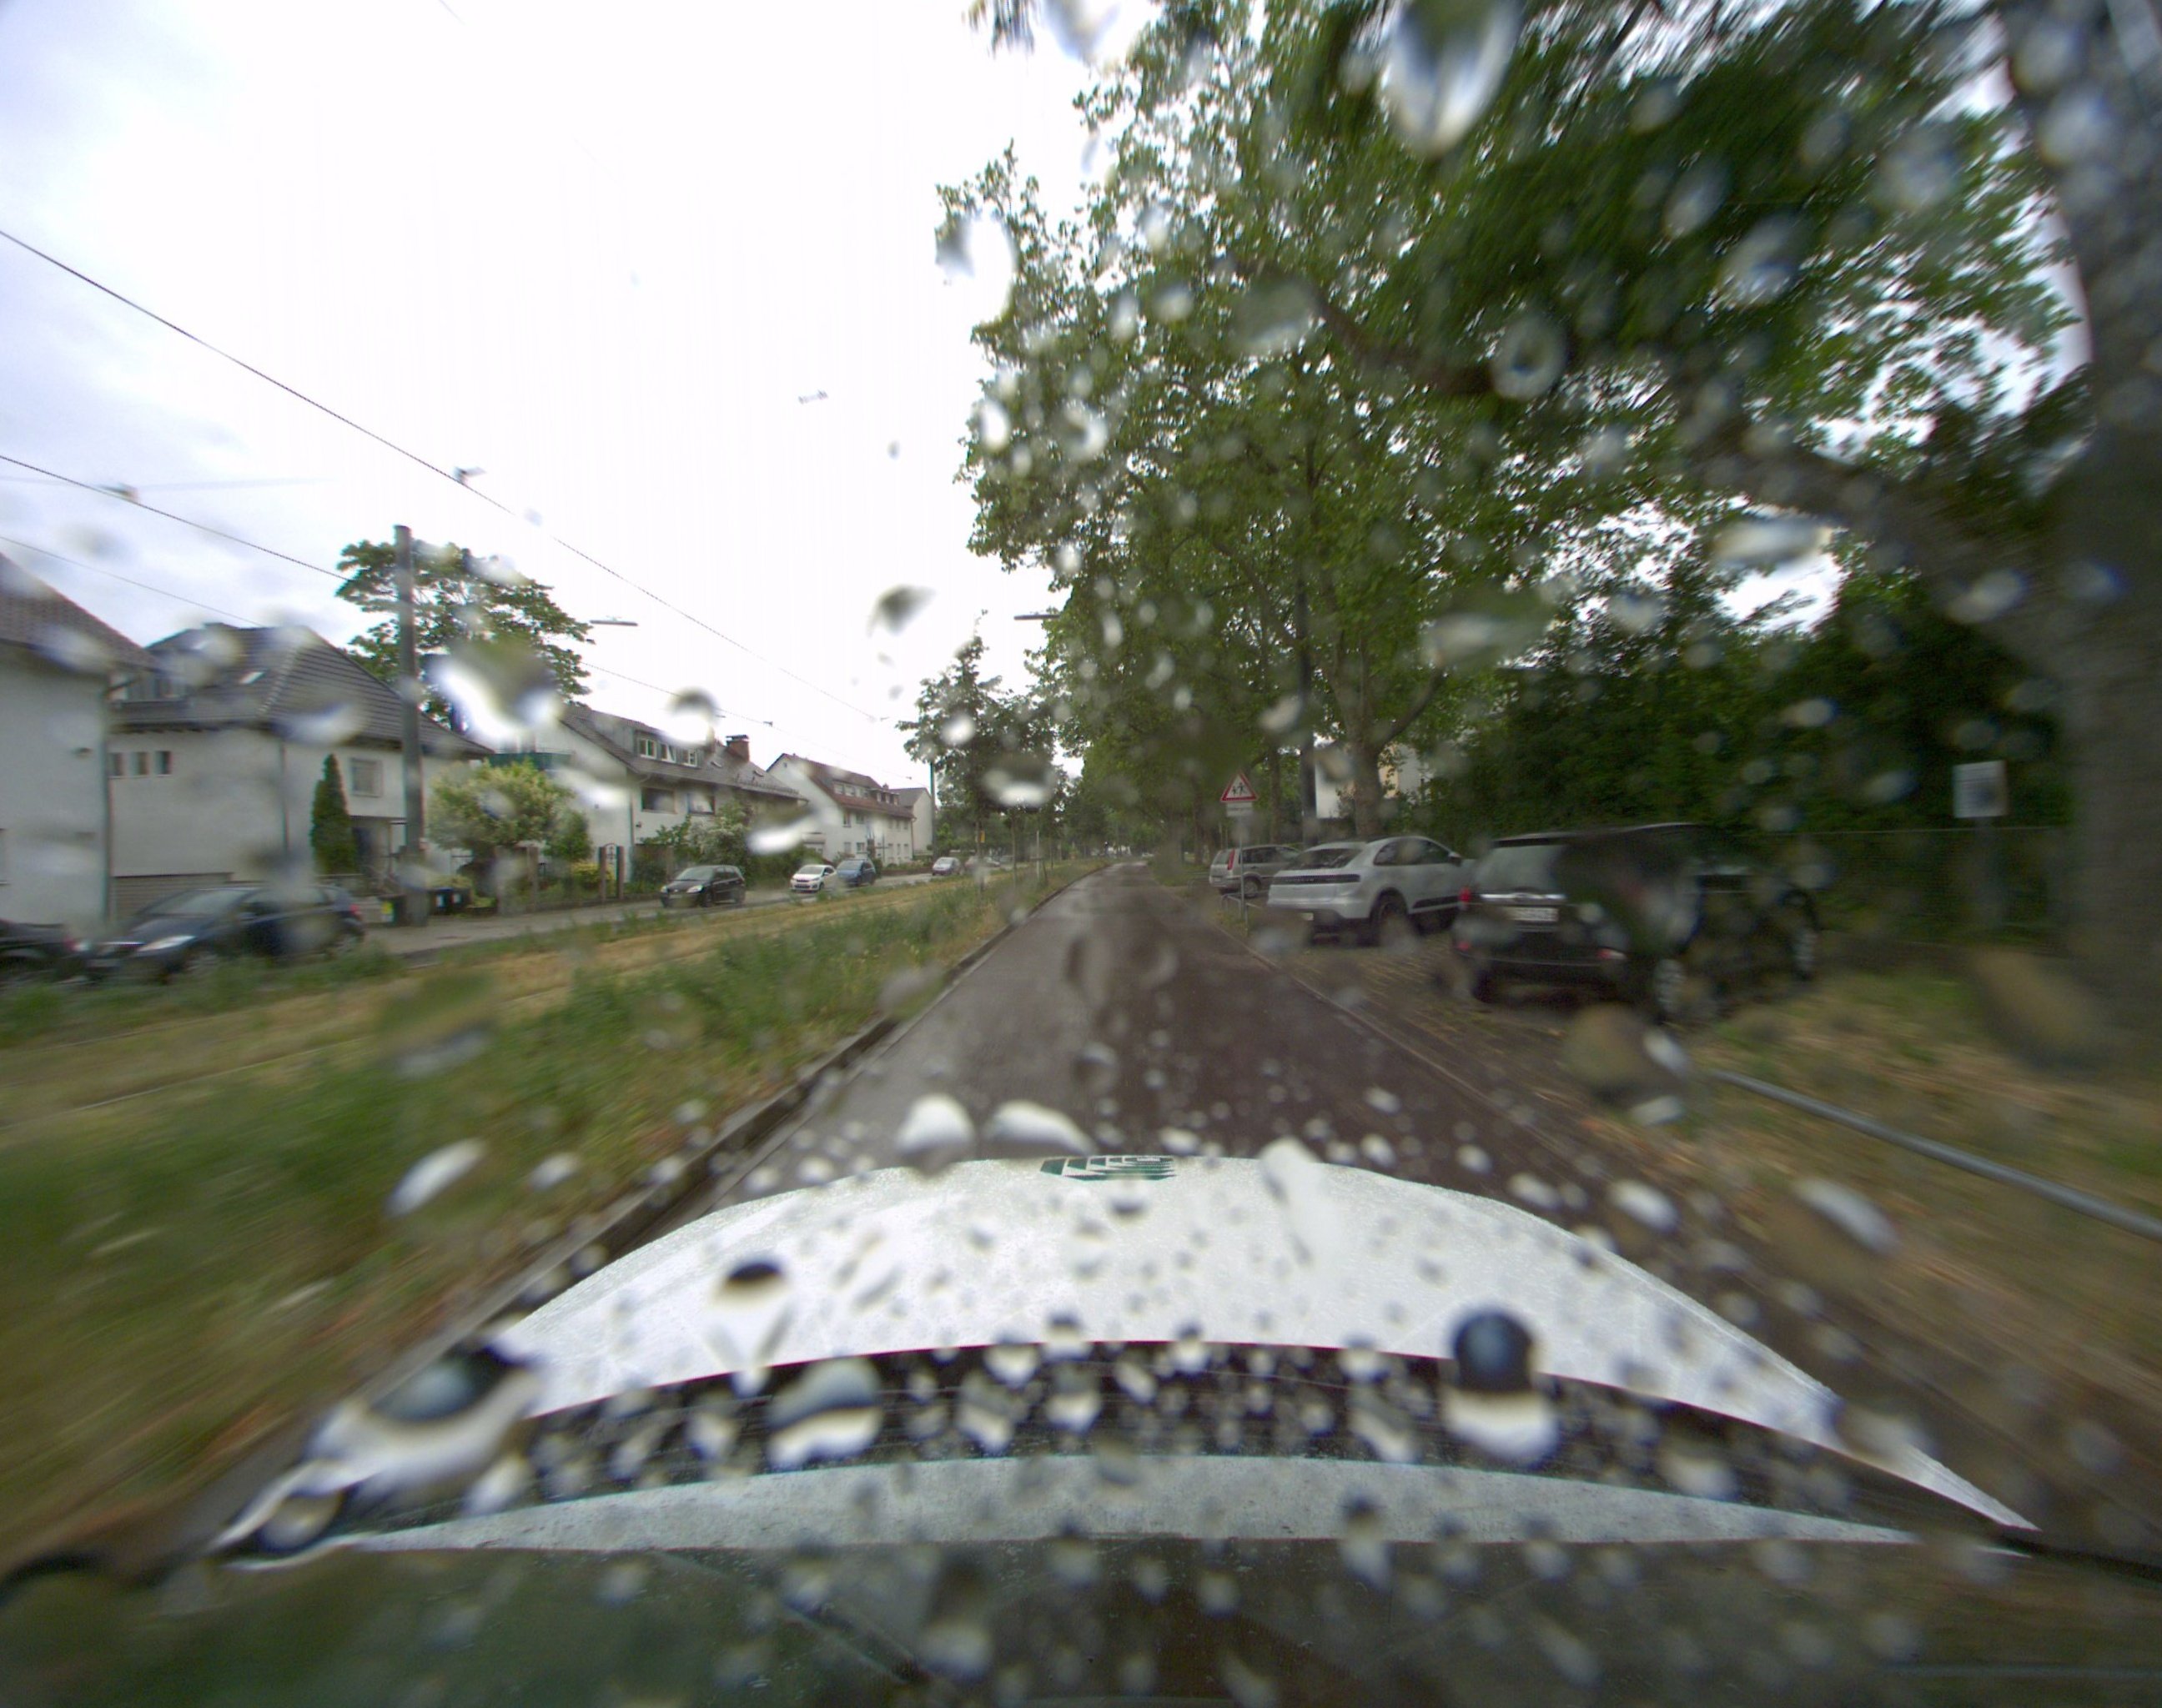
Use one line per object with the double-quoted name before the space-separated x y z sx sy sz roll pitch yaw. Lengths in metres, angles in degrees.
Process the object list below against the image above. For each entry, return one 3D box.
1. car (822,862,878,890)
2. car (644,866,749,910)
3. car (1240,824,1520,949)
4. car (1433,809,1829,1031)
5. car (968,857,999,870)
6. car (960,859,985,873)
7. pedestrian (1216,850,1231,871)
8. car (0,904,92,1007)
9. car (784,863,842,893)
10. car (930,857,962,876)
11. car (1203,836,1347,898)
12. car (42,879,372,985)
"car" -14.302 1.314 50.667 1.985 1.614 4.417 0 0 3
"car" -15.153 1.305 32.391 1.985 1.516 4.209 0 0 3
"car" 5.119 0.436 13.680 4.796 1.668 1.973 -3 0 -35
"car" 5.204 0.447 7.608 3.727 1.566 1.603 -3 0 -31
"car" -13.786 1.300 115.401 3.973 1.616 2.000 -3 0 1
"car" -11.751 1.295 88.495 1.985 1.488 4.209 0 0 3
"pedestrian" 10.672 0.504 61.011 0.831 1.538 0.859 -3 0 -2
"car" -16.049 1.455 10.214 1.985 1.350 4.244 0 0 3
"car" -14.503 1.280 44.222 1.788 1.488 3.600 0 0 3
"car" -12.310 1.128 74.558 1.985 1.581 4.520 0 0 3
"car" 5.831 0.362 24.618 3.858 1.566 1.612 -4 0 -13
"car" -15.774 1.315 15.062 1.867 1.550 3.871 0 0 1
